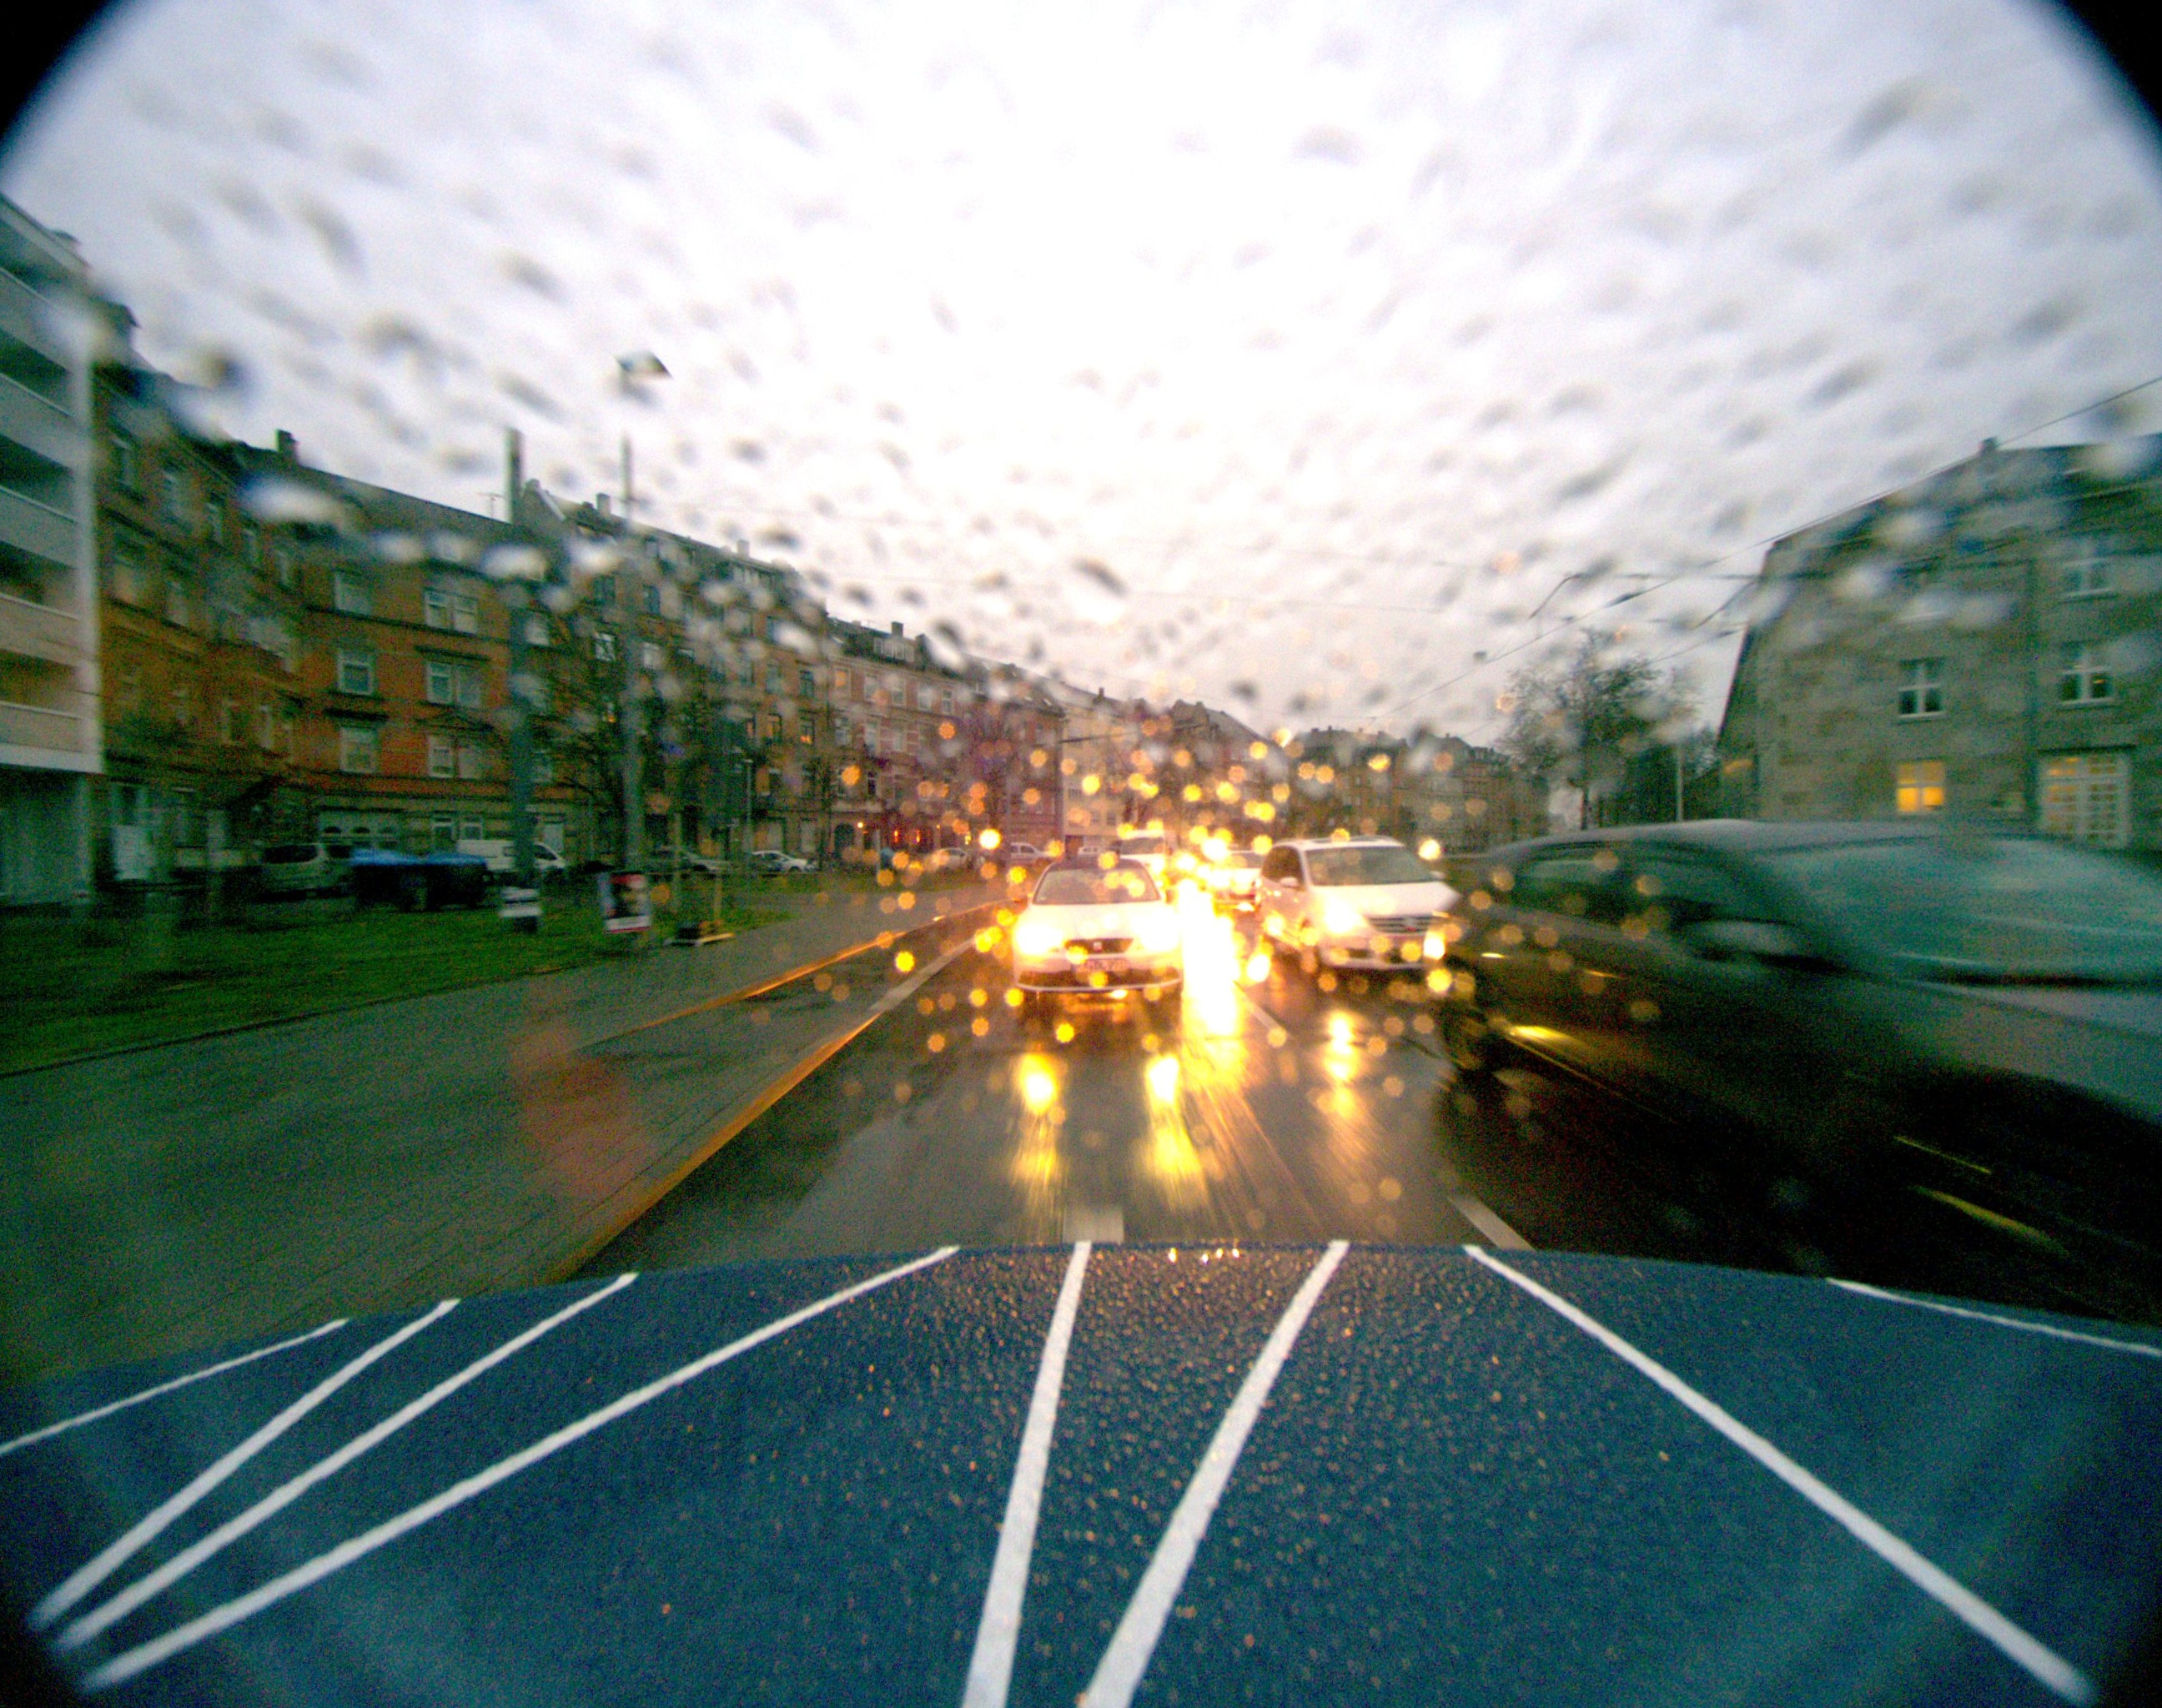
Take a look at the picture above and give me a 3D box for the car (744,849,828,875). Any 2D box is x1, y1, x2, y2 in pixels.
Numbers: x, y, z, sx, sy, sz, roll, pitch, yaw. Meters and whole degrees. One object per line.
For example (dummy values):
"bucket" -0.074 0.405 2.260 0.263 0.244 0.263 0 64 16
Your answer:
"car" -15.343 0.400 39.570 3.683 1.298 1.669 -1 1 7

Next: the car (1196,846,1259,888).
"car" 5.646 0.461 28.906 1.874 1.466 4.176 -1 0 18

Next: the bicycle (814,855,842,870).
"bicycle" -14.485 0.455 43.448 1.790 0.790 0.447 2 2 32

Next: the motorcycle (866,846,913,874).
"motorcycle" -10.287 0.307 40.765 2.352 1.338 0.886 3 3 22

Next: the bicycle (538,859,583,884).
"bicycle" -21.189 0.706 30.924 1.792 0.926 0.446 1 2 14

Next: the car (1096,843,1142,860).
"car" 3.152 -0.228 63.331 3.608 1.362 1.619 -1 1 12

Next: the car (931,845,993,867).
"car" -7.743 0.119 49.669 3.683 1.391 1.522 -1 1 8

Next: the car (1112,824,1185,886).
"car" 3.111 0.005 33.556 2.239 2.449 5.675 -1 1 15

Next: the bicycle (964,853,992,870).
"bicycle" -5.956 0.447 43.920 1.790 0.926 0.447 2 2 36

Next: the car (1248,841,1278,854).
"car" 20.488 -0.719 85.549 3.180 1.405 1.383 -1 1 18

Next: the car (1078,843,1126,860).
"car" 1.672 -0.195 61.095 3.608 1.362 1.619 -1 1 12

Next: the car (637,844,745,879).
"car" -18.086 0.346 35.326 4.151 1.560 1.743 -1 1 7

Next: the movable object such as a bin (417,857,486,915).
"movable object such as a bin" -16.285 0.789 19.657 1.050 1.424 1.227 0 1 43

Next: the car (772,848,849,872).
"car" -14.938 0.322 42.009 3.683 1.298 1.522 -1 1 7

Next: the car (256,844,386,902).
"car" -27.943 0.620 28.161 1.945 1.931 4.588 -1 1 -25

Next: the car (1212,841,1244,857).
"car" 15.246 -0.477 78.887 3.180 1.615 1.430 -1 1 16

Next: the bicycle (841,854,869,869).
"bicycle" -13.377 0.417 44.965 1.790 0.813 0.395 2 2 29

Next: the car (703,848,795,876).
"car" -16.242 0.380 37.256 3.683 1.298 1.743 -1 1 7

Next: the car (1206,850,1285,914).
"car" 4.100 0.652 19.382 1.688 1.422 3.348 -1 1 8

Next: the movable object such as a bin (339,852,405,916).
"movable object such as a bin" -18.243 0.742 19.545 1.050 1.566 1.142 0 1 43

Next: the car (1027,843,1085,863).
"car" -1.841 -0.083 56.315 3.957 1.436 1.703 -1 1 13

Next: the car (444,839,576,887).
"car" -27.642 0.368 36.935 1.994 2.177 4.670 0 1 36

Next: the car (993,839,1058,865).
"car" -3.937 -0.146 54.291 4.339 1.758 1.782 -1 1 7

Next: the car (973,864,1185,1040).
"car" 0.155 0.886 8.684 1.787 1.370 4.224 -2 1 5

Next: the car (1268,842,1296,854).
"car" 23.409 -0.688 88.480 3.180 1.276 1.383 -1 1 18

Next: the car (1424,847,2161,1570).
"car" 3.285 0.772 3.069 1.825 1.561 4.361 -1 1 0

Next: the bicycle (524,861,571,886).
"bicycle" -21.318 0.773 30.353 1.792 0.926 0.446 1 2 14

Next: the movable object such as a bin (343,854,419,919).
"movable object such as a bin" -17.051 0.765 18.510 1.050 1.502 1.255 0 1 43

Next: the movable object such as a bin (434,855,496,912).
"movable object such as a bin" -16.807 0.766 20.726 1.050 1.477 1.142 0 1 43

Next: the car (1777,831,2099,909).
"car" 17.527 0.260 15.954 1.644 1.378 4.474 -1 1 -2

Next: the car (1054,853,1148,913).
"car" 0.651 0.724 20.678 1.721 1.380 3.825 -1 1 14

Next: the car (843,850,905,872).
"car" -12.648 0.422 46.523 3.296 1.298 1.522 -1 1 8

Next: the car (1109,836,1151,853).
"car" 4.256 -0.812 65.763 3.610 1.362 1.618 -1 1 6

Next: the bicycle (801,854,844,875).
"bicycle" -12.863 0.535 37.825 1.911 1.013 0.535 0 2 -32

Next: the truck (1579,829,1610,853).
"truck" 45.180 -1.141 66.773 1.833 2.032 4.008 0 1 41

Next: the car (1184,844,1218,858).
"car" 12.123 -0.322 76.727 3.180 1.420 1.430 -1 1 16

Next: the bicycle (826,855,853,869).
"bicycle" -13.958 0.452 43.902 1.790 0.773 0.447 2 2 32

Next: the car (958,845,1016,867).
"car" -6.438 0.117 52.088 3.683 1.428 1.522 -1 1 8

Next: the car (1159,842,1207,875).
"car" 5.691 0.221 42.039 1.874 1.679 4.175 -1 1 18

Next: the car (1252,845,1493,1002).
"car" 3.452 0.689 9.882 1.675 1.590 4.223 -1 1 3

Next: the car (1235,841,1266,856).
"car" 18.626 -0.587 83.374 3.180 1.615 1.447 -1 1 16

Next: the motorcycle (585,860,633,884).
"motorcycle" -19.895 0.761 32.032 1.793 0.926 0.513 1 2 8
